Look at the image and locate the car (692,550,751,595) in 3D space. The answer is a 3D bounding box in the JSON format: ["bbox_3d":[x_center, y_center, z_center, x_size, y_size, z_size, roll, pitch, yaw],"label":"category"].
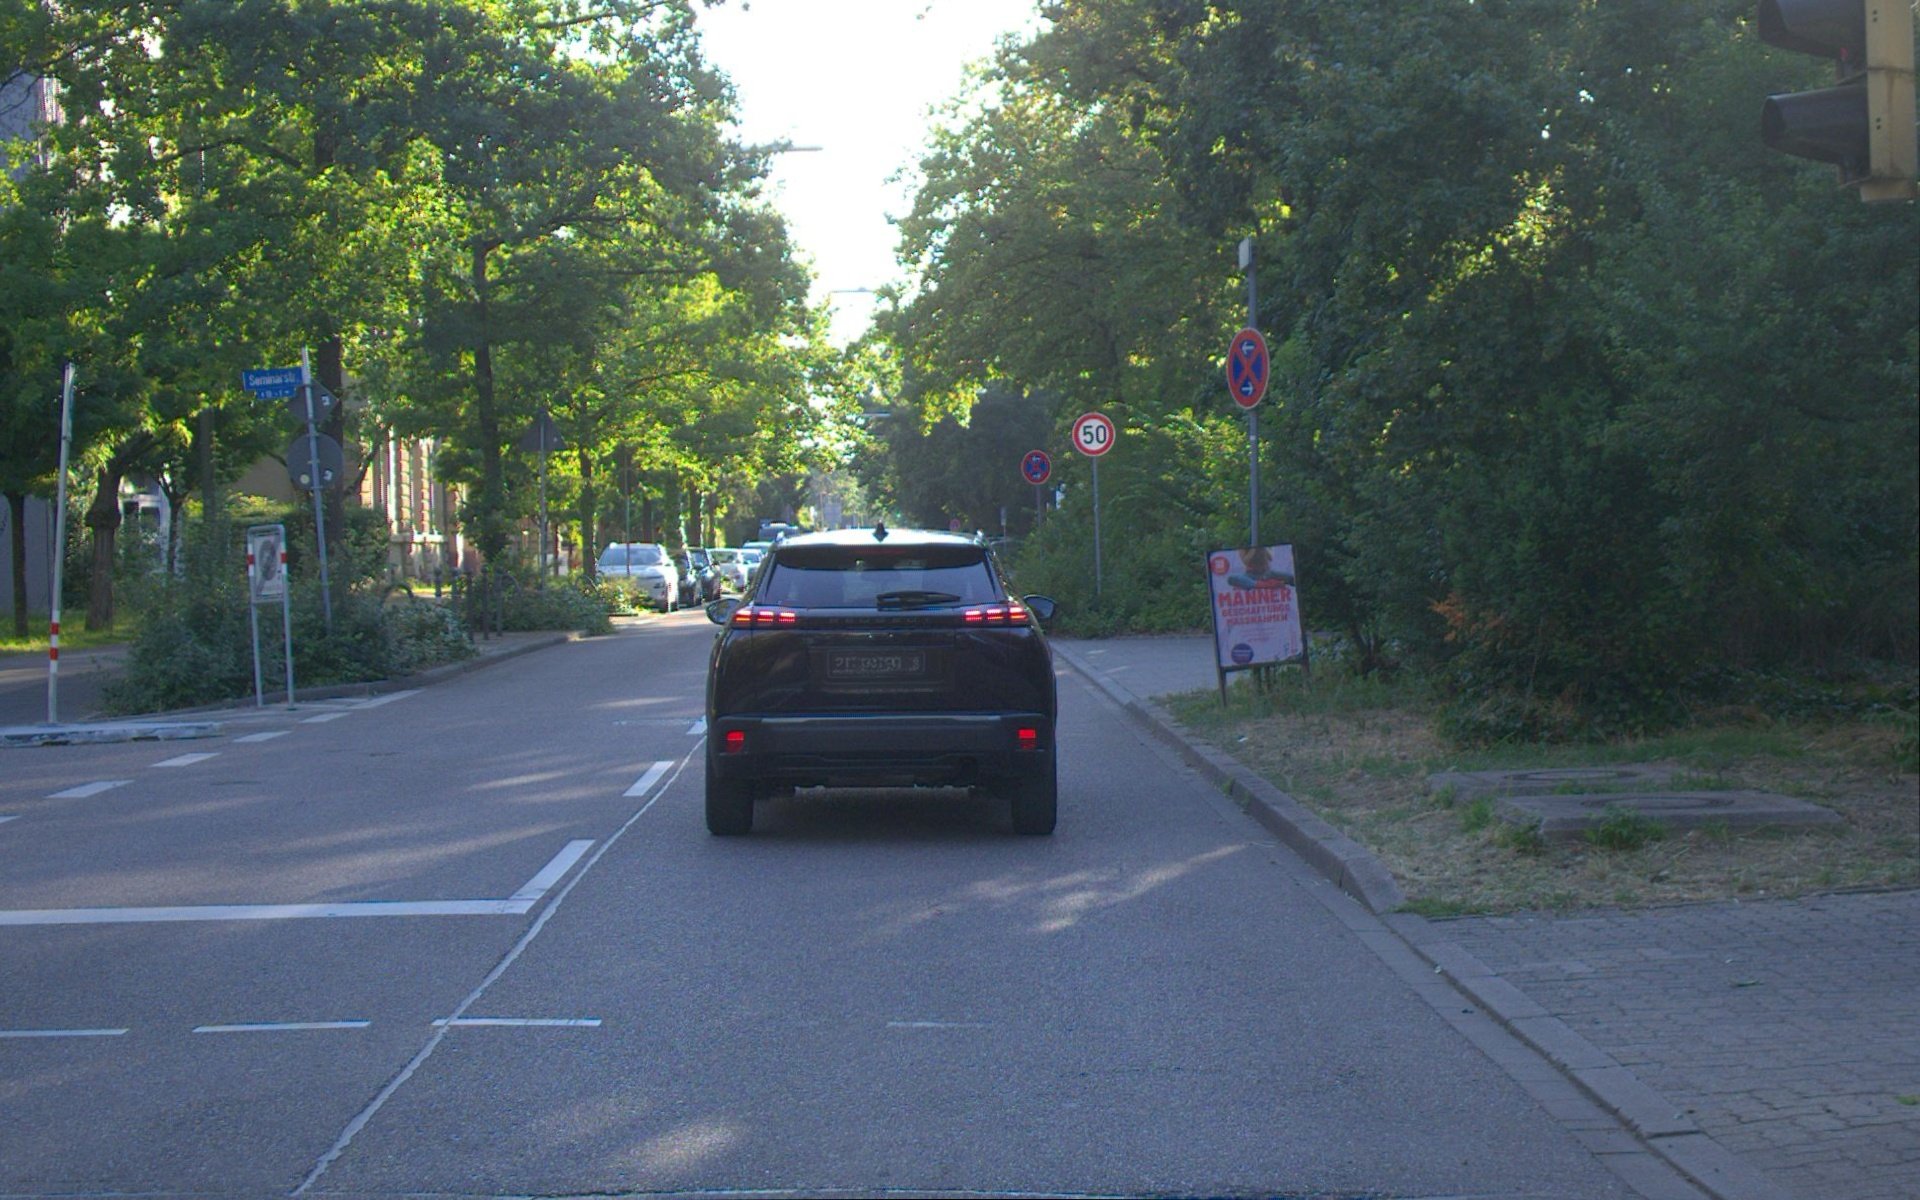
[{"bbox_3d":[-7.648,-0.901,110.114,1.810,1.349,4.001,-2,1,-5],"label":"car"}]

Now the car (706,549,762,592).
[{"bbox_3d":[-7.736,-1.022,117.663,1.810,1.349,3.980,-2,1,-5],"label":"car"}]

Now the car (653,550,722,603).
[{"bbox_3d":[-7.542,-0.662,95.152,1.810,1.349,4.001,-2,1,-5],"label":"car"}]

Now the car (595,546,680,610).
[{"bbox_3d":[-7.296,-0.521,77.577,1.810,1.349,4.001,-2,1,-6],"label":"car"}]

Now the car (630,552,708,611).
[{"bbox_3d":[-7.090,-0.469,83.827,1.810,1.349,4.001,-2,1,-5],"label":"car"}]

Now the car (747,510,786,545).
[{"bbox_3d":[-10.271,-3.845,182.693,1.907,1.861,3.949,-1,1,-1],"label":"car"}]

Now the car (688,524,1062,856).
[{"bbox_3d":[-0.435,0.405,18.182,1.768,1.563,3.381,1,1,-1],"label":"car"}]
